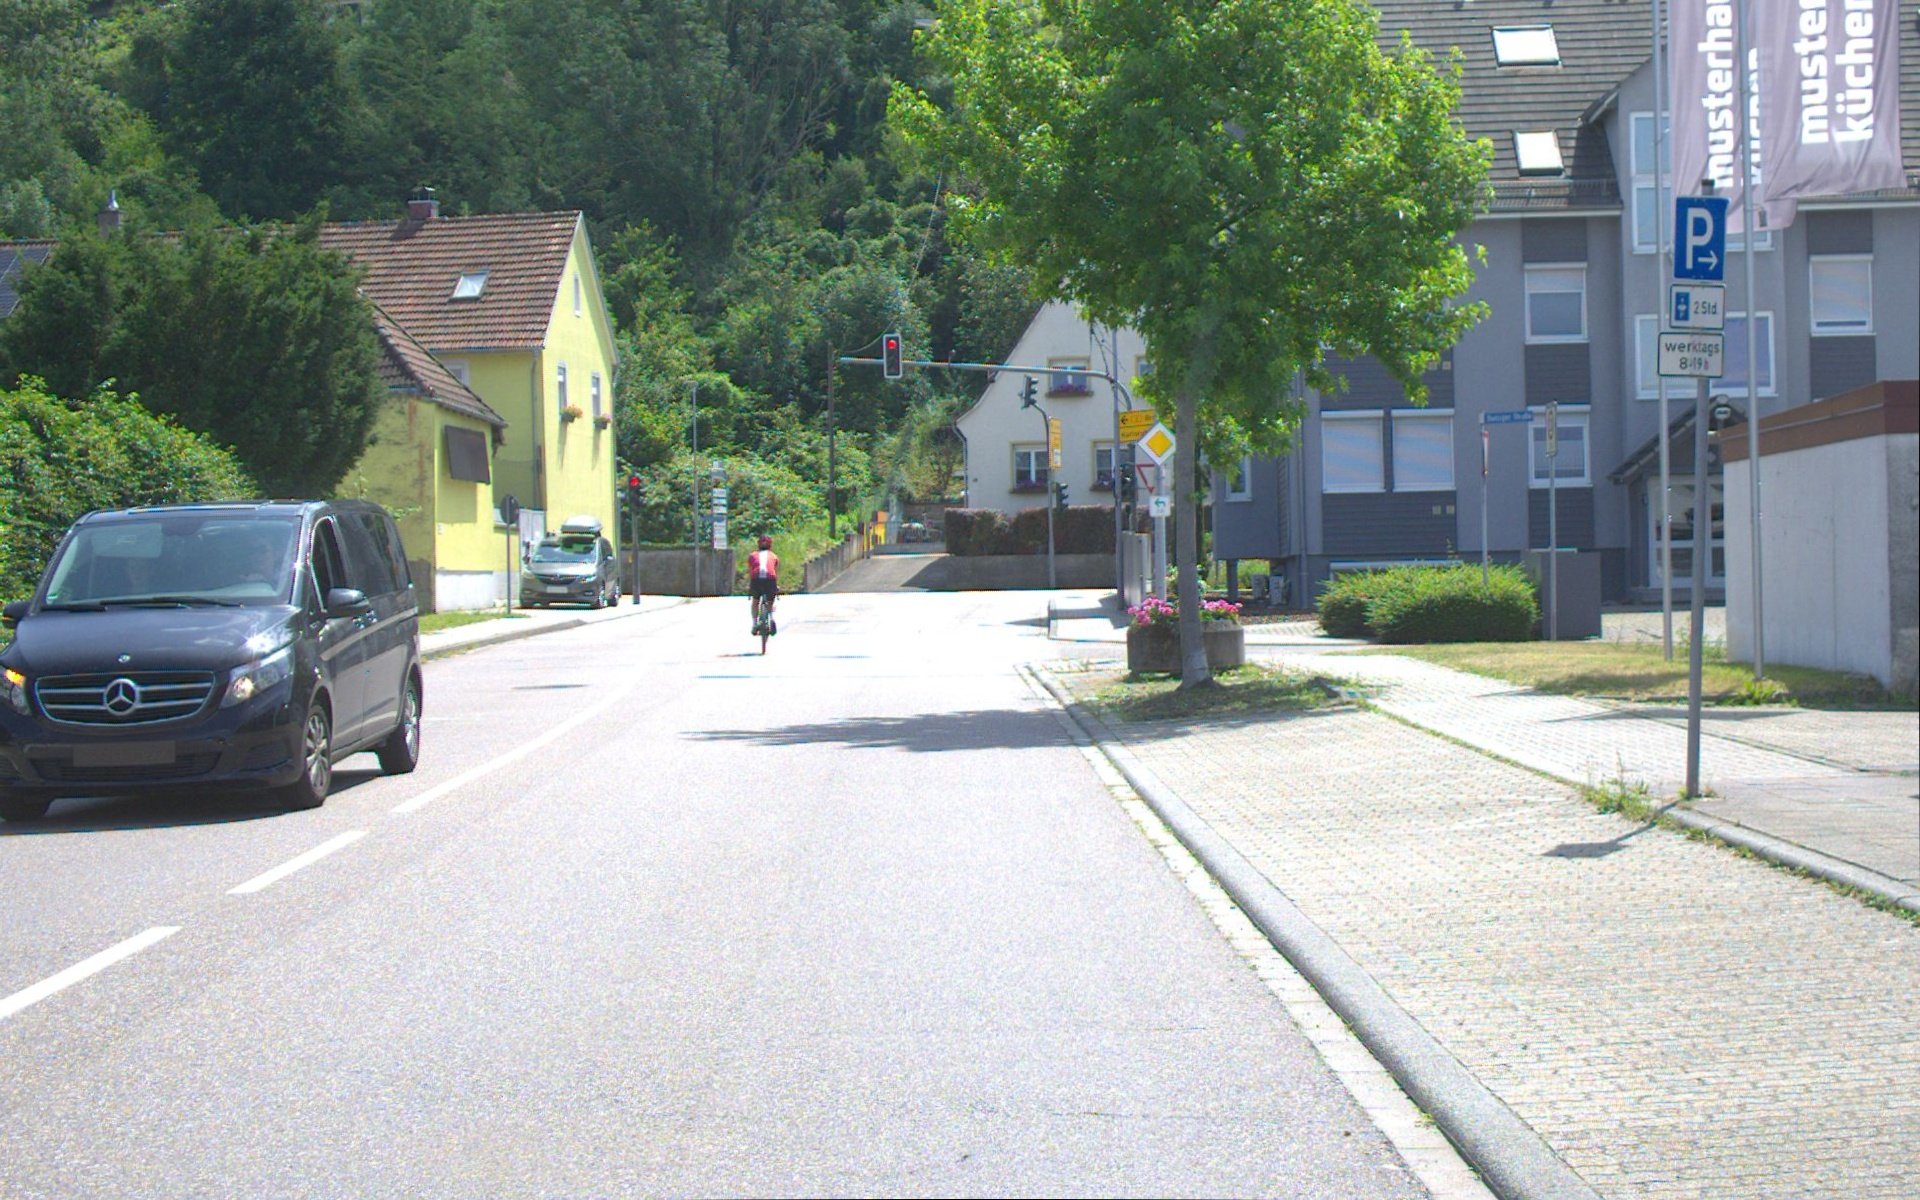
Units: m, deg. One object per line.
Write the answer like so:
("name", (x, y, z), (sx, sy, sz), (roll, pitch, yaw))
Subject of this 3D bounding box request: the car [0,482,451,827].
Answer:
("car", (-4.624, 0.271, 21.550), (1.993, 1.846, 5.070), (-2, 1, 1))

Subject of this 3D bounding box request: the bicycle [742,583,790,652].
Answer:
("bicycle", (-2.633, 0.229, 46.572), (0.630, 0.902, 1.657), (0, 1, -3))

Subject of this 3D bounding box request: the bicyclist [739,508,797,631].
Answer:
("bicyclist", (-2.604, -0.419, 46.599), (0.760, 1.659, 0.869), (0, 1, -3))

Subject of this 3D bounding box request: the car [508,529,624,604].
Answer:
("car", (-8.909, -0.783, 78.079), (1.993, 1.630, 4.630), (1, 1, 2))
